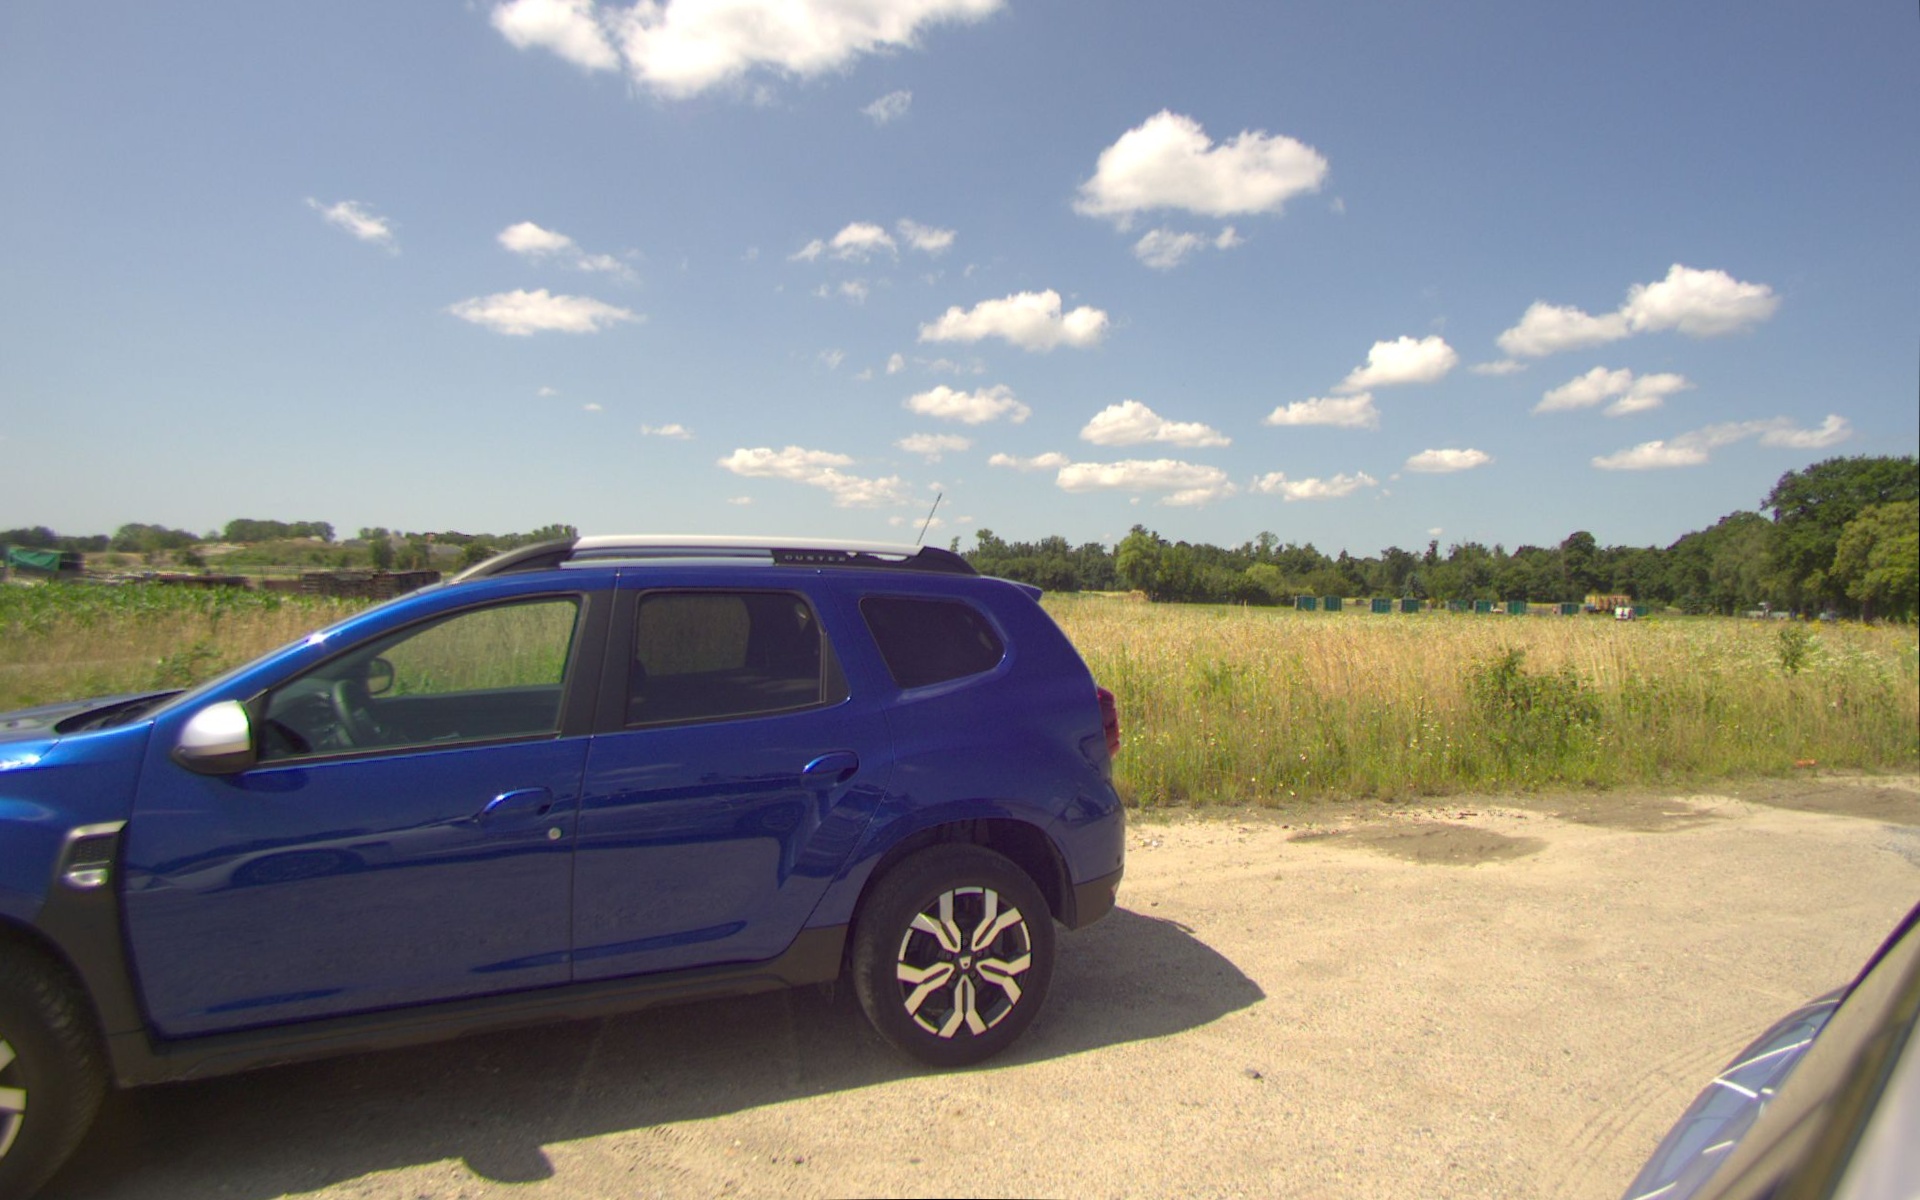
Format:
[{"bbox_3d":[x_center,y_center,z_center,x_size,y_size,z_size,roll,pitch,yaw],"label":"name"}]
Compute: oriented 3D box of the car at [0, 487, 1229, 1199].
[{"bbox_3d":[-1.451,0.583,3.542,4.365,1.682,1.868,0,0,-21],"label":"car"}]
